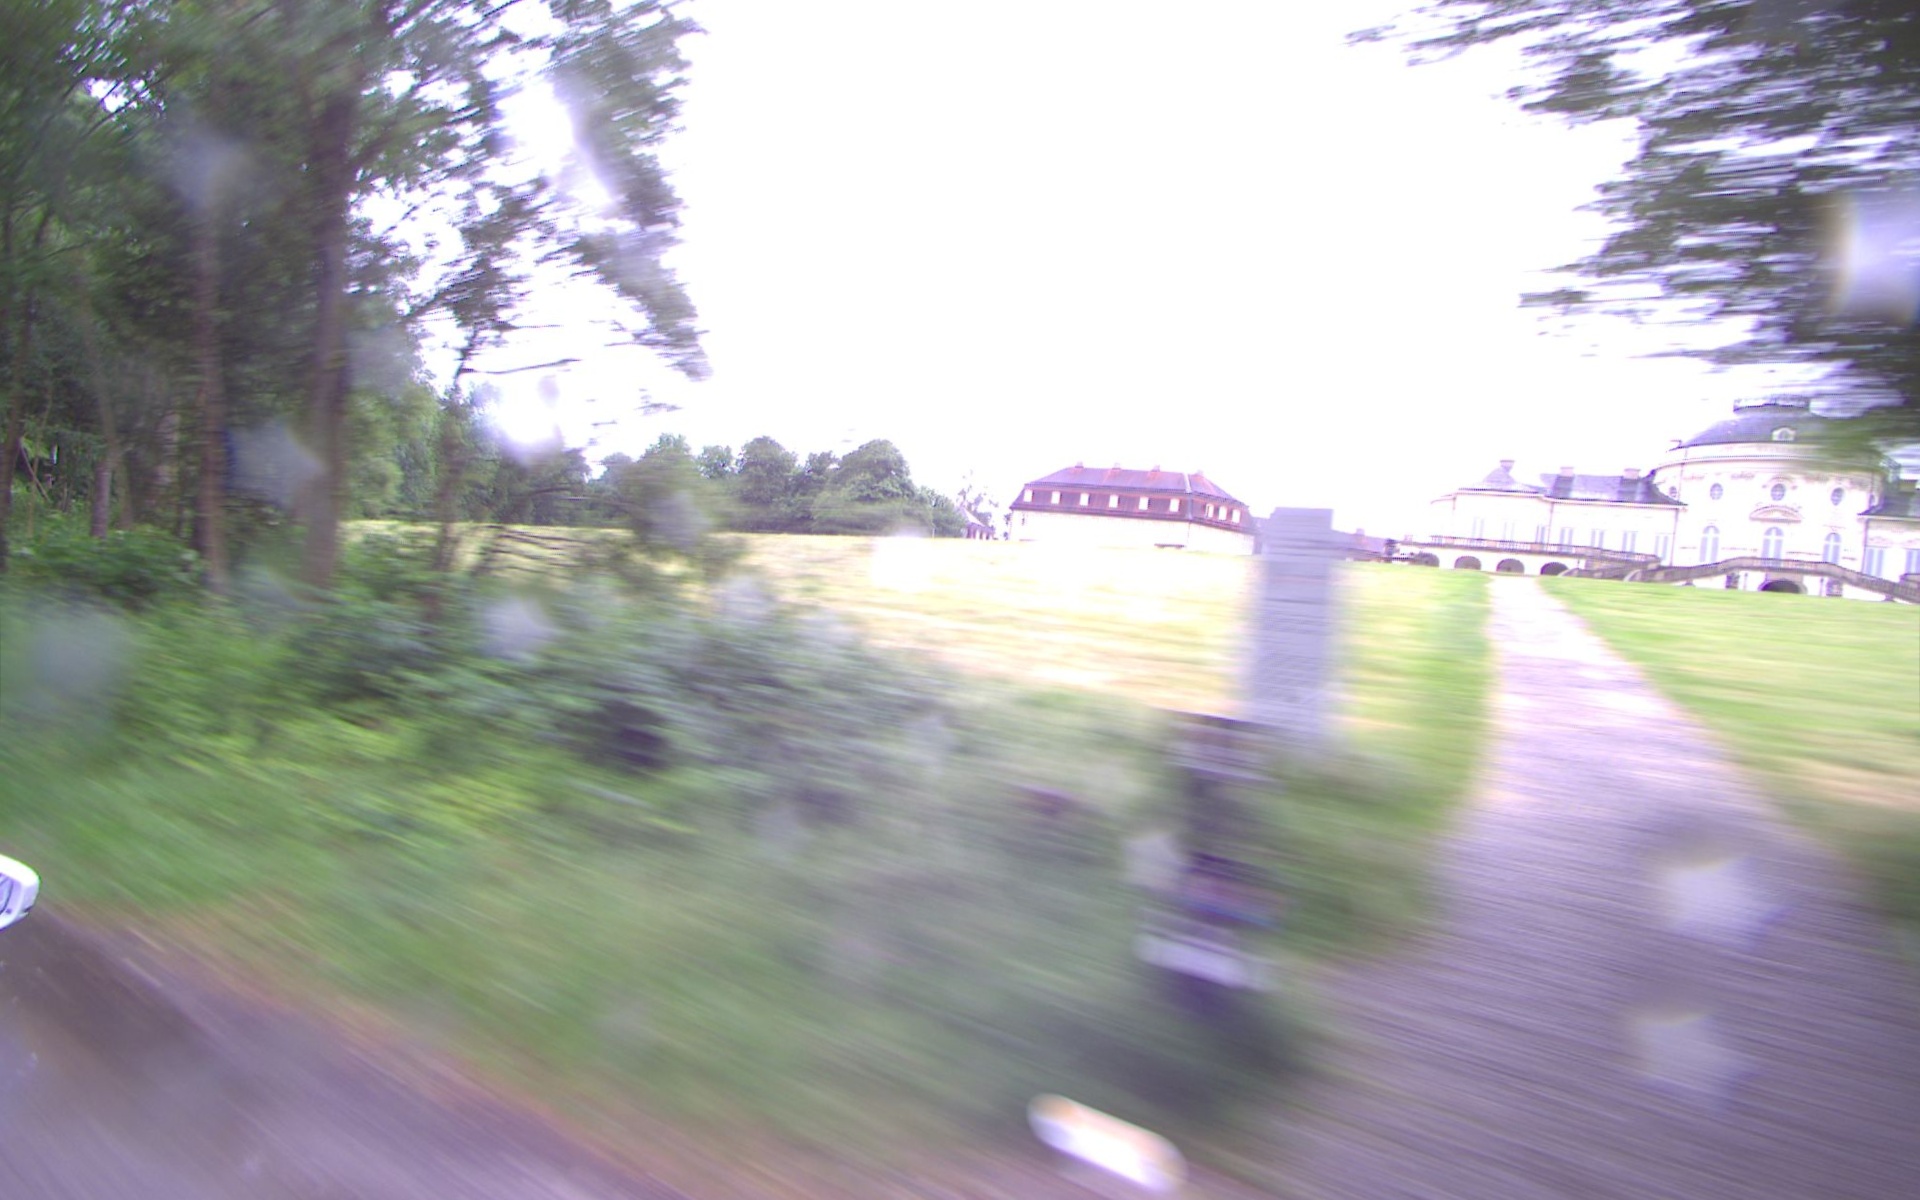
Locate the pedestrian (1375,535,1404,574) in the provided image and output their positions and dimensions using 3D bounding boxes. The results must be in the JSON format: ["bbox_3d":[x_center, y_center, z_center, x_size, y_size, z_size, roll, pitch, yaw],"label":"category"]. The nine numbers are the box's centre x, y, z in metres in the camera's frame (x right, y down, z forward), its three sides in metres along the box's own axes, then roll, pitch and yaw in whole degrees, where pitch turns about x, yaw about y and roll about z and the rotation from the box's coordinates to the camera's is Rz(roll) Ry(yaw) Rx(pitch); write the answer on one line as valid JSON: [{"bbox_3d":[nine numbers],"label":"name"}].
[{"bbox_3d":[21.432,-2.289,50.234,0.923,1.757,0.793,8,1,-44],"label":"pedestrian"}]
